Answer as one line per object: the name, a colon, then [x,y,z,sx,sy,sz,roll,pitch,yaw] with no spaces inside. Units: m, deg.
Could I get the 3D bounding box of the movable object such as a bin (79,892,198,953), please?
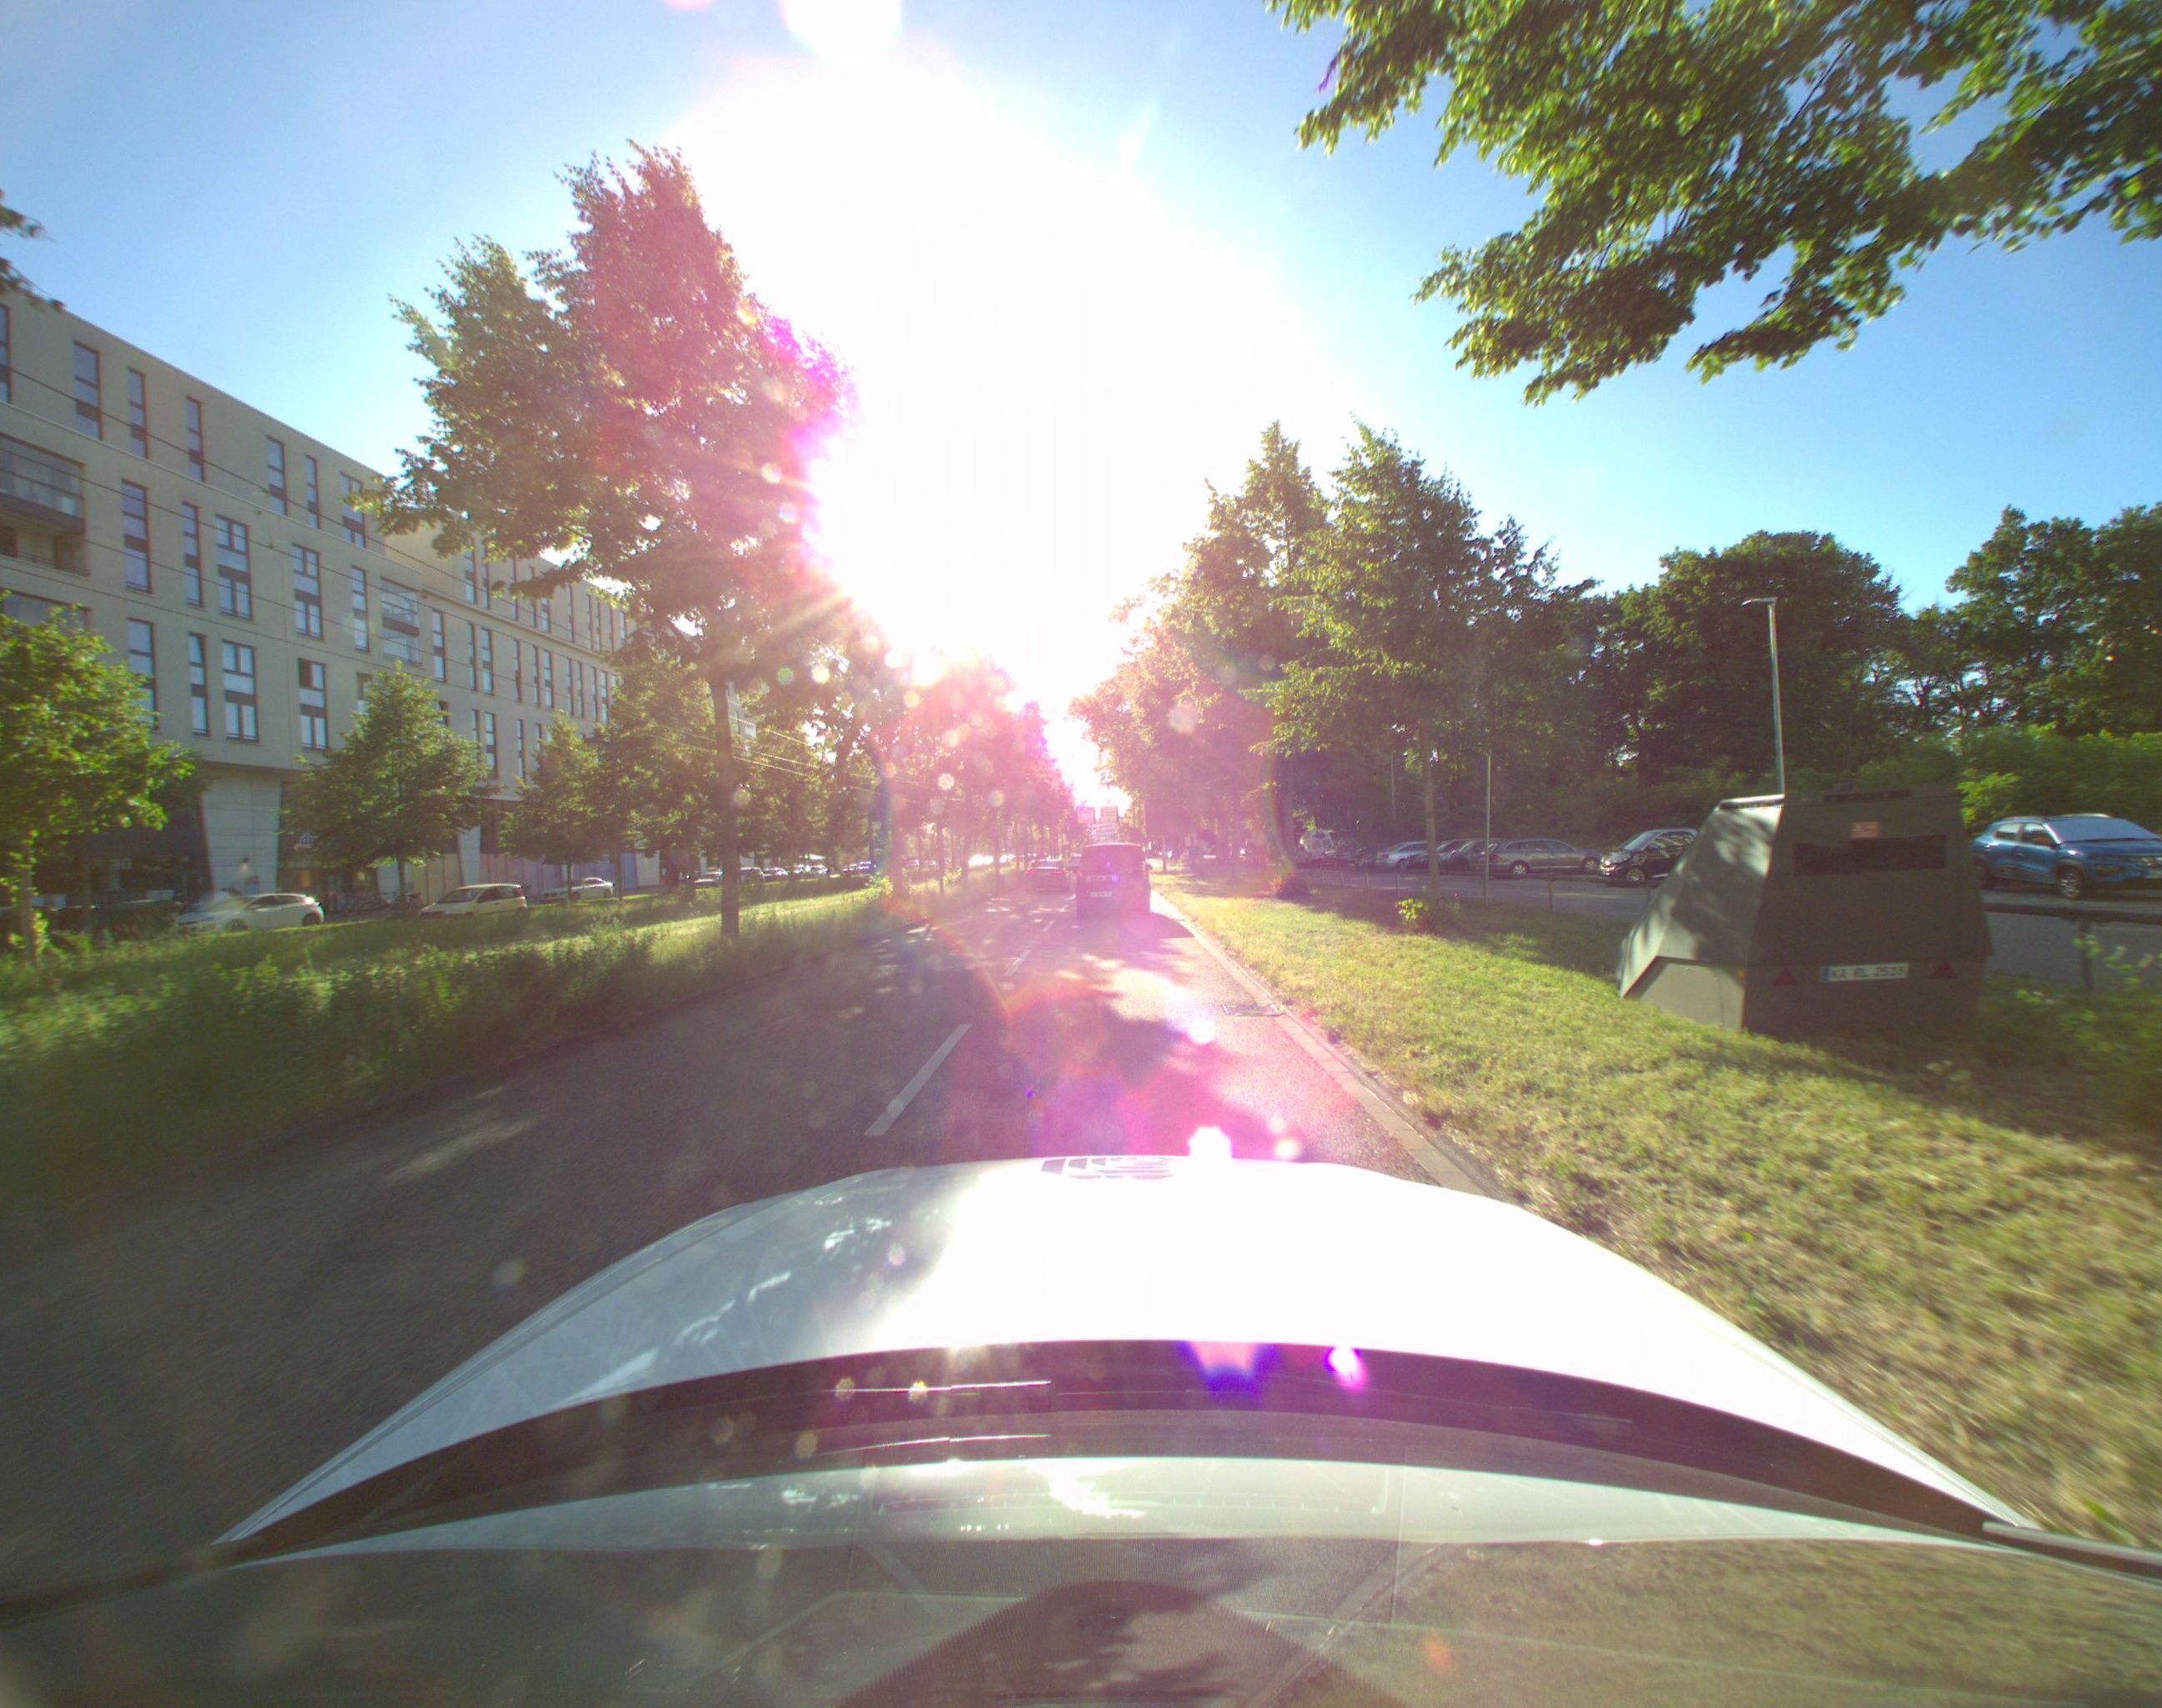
movable object such as a bin: [-30.011,2.156,25.981,1.964,1.794,1.556,-1,0,0]

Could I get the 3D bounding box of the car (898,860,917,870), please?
car: [-27.470,1.710,129.295,1.873,1.434,4.611,-2,0,1]

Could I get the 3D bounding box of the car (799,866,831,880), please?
car: [-28.351,1.987,86.914,1.987,1.441,4.455,-1,0,0]

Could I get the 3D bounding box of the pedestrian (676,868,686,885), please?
pedestrian: [-38.626,2.155,78.655,0.634,1.651,0.719,-1,-1,-5]

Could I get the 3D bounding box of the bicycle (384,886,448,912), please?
bicycle: [-36.565,2.435,44.838,0.941,1.281,2.778,-1,0,9]

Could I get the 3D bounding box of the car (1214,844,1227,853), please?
car: [27.201,-0.996,159.204,1.985,1.640,4.003,-1,0,3]

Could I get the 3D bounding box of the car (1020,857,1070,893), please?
car: [-1.467,0.837,34.628,1.785,1.428,4.002,-1,0,2]

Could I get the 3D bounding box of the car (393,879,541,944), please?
car: [-21.609,1.978,28.872,1.984,2.014,4.005,-1,0,5]

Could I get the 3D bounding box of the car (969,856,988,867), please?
car: [-15.608,1.147,124.028,1.986,1.686,5.112,-1,0,2]

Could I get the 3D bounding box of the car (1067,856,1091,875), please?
car: [-0.162,0.983,72.428,1.986,1.618,4.002,-1,0,2]

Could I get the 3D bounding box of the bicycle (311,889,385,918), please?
bicycle: [-37.213,2.501,41.406,0.941,1.281,2.778,-1,0,9]

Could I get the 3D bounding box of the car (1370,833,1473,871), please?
car: [17.303,-0.095,41.575,4.361,1.410,2.003,-6,0,4]

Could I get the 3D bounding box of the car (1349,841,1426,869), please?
car: [18.490,0.044,49.178,3.979,1.505,1.763,-2,0,-4]

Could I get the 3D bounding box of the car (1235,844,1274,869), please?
car: [11.958,0.157,56.345,1.986,1.640,4.001,-1,0,2]

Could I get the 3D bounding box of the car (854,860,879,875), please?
car: [-27.524,1.705,104.719,1.987,1.772,4.775,-1,0,0]

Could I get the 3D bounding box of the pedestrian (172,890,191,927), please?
pedestrian: [-38.891,2.338,35.200,0.496,1.549,0.525,-1,-1,44]

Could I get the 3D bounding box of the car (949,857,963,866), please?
car: [-25.372,1.503,165.331,1.985,1.608,4.615,-1,0,3]

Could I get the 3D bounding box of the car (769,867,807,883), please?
car: [-28.841,2.010,80.243,1.987,1.441,4.935,-1,0,0]

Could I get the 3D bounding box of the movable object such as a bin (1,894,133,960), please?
movable object such as a bin: [-30.046,2.148,24.178,1.964,1.794,1.556,-1,0,0]

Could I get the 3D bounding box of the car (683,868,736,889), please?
car: [-29.079,1.891,63.891,1.987,1.441,4.778,-1,0,0]

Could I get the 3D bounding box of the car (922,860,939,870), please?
car: [-26.463,1.892,143.637,1.871,1.621,4.615,-1,0,3]

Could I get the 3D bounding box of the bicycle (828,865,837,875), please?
bicycle: [-34.360,2.204,112.421,0.585,1.252,1.841,-1,0,2]

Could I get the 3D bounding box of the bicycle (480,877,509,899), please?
bicycle: [-36.533,2.127,50.735,0.596,1.281,1.608,-1,0,0]

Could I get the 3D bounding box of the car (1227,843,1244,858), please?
car: [22.590,-0.492,119.521,2.076,2.013,4.952,-2,0,7]

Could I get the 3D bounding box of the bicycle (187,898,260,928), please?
bicycle: [-37.053,2.541,35.236,0.865,1.137,2.371,-1,0,-7]

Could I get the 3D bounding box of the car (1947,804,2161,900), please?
car: [18.743,-0.102,15.488,1.579,1.545,3.840,-3,1,22]

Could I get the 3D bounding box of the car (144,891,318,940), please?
car: [-30.141,2.136,29.086,1.987,1.441,4.018,-1,0,0]

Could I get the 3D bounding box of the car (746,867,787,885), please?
car: [-28.727,1.980,74.432,1.987,1.441,4.455,-1,0,0]

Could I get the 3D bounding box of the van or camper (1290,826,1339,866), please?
van or camper: [17.461,-0.570,61.146,1.988,2.731,4.962,-5,0,-1]

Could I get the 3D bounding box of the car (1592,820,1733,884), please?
car: [16.006,-0.042,22.525,2.748,1.550,1.466,-4,-1,11]

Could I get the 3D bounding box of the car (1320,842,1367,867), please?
car: [17.756,0.053,55.290,1.986,1.574,4.002,-1,0,2]

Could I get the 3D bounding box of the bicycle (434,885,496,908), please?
bicycle: [-36.612,2.506,48.448,2.777,1.281,0.941,-1,-1,-27]

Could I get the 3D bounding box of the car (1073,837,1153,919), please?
car: [0.706,0.564,20.551,1.803,1.838,3.998,-1,0,-1]

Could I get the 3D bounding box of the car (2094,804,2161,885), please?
car: [21.359,-0.193,14.925,1.732,1.536,3.901,-1,0,20]

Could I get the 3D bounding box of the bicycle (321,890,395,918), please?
bicycle: [-36.182,2.482,40.808,0.941,1.281,2.778,-1,0,9]

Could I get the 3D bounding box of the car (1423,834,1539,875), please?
car: [17.398,0.024,35.535,4.179,1.498,1.781,-3,0,-1]

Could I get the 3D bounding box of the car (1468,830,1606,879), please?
car: [16.781,0.022,30.114,4.063,1.468,1.717,-4,-1,2]

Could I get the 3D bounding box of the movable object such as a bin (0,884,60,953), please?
movable object such as a bin: [-30.002,1.764,22.124,1.964,1.794,2.010,-1,0,-1]

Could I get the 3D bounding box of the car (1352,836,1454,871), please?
car: [17.539,-0.049,44.540,4.701,1.406,2.001,-6,0,2]

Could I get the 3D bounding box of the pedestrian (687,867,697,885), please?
pedestrian: [-37.803,2.145,79.079,0.633,1.651,0.720,-1,-1,0]

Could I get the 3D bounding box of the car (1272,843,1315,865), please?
car: [17.422,-0.007,66.983,1.839,1.617,3.988,-6,1,-8]

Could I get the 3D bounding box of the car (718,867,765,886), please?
car: [-28.717,1.888,69.088,1.986,1.441,4.458,-1,0,2]

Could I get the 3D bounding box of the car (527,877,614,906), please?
car: [-29.731,2.139,47.611,1.987,1.441,4.924,-1,0,0]

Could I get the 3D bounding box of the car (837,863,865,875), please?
car: [-27.610,1.785,98.013,1.950,1.441,4.268,-1,0,2]

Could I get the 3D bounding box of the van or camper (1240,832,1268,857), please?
van or camper: [20.487,-1.103,96.629,2.543,2.684,6.577,-4,0,7]

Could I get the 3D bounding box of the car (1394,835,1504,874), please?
car: [17.471,-0.005,38.786,4.317,1.477,1.906,-5,1,-2]
